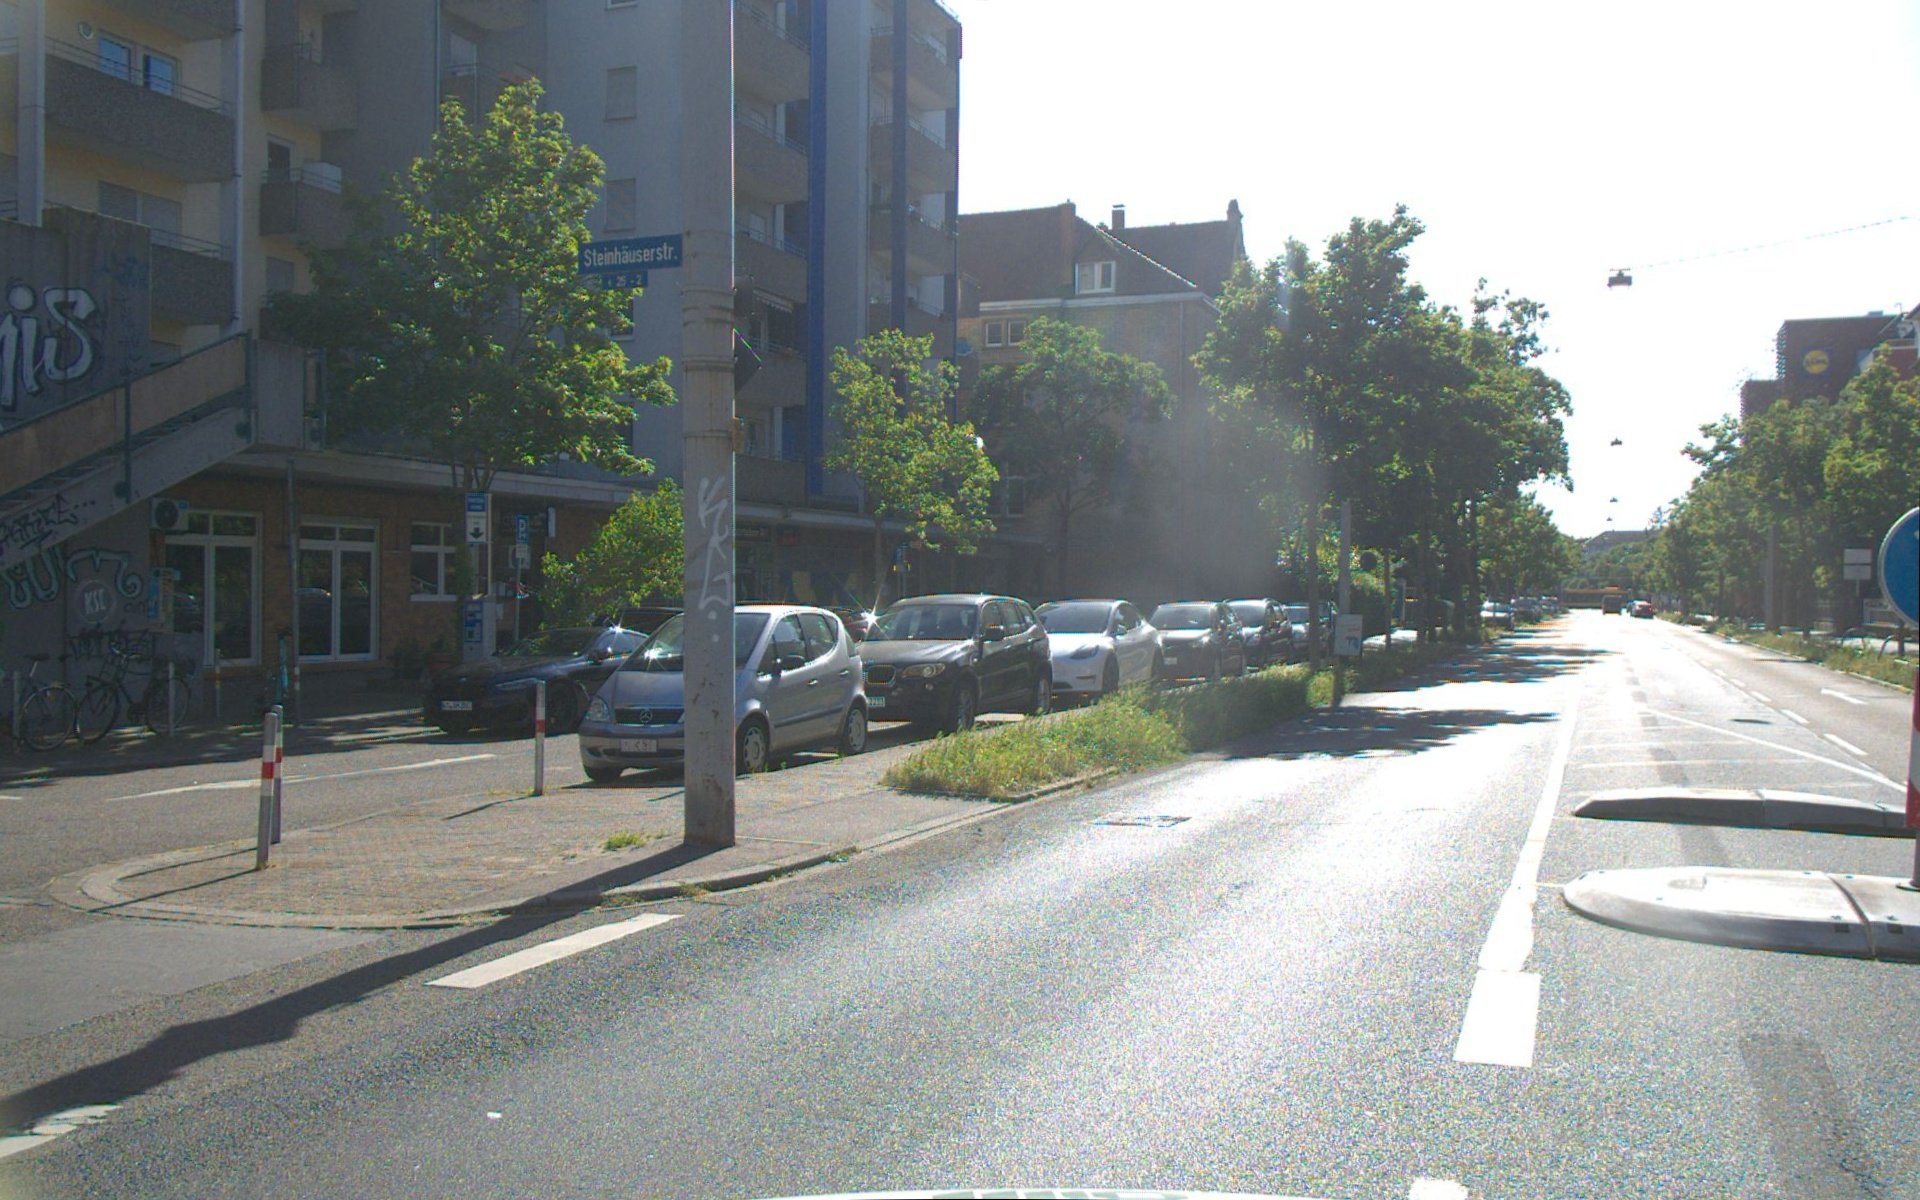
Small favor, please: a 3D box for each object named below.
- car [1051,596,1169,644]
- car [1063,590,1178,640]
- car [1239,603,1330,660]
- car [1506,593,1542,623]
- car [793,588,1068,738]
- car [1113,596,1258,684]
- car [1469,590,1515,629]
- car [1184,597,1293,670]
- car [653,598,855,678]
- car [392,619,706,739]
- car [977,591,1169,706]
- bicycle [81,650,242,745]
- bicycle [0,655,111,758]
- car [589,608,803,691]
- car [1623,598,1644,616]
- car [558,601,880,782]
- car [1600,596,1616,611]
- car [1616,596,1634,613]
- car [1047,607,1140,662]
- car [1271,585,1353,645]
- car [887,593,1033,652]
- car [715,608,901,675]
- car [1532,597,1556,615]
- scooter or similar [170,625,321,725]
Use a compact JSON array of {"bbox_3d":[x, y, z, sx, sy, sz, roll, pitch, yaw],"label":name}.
[{"bbox_3d":[5.361,0.689,59.051,3.903,1.658,1.688,0,0,18],"label":"car"},{"bbox_3d":[5.930,0.538,60.929,3.903,1.800,1.887,0,0,18],"label":"car"},{"bbox_3d":[8.599,0.786,43.580,1.718,1.422,4.000,0,0,21],"label":"car"},{"bbox_3d":[38.950,0.559,114.208,2.019,2.049,4.628,0,0,23],"label":"car"},{"bbox_3d":[-0.220,0.699,20.667,1.830,1.656,4.504,-1,0,22],"label":"car"},{"bbox_3d":[4.543,0.753,32.854,1.825,1.615,3.999,-1,0,23],"label":"car"},{"bbox_3d":[28.705,0.513,89.215,1.953,2.049,4.204,0,0,23],"label":"car"},{"bbox_3d":[6.469,0.728,38.074,1.715,1.580,4.000,-1,0,21],"label":"car"},{"bbox_3d":[-4.397,0.786,35.491,3.903,1.635,1.842,0,0,18],"label":"car"},{"bbox_3d":[-5.516,1.007,22.841,1.853,1.422,4.528,-1,0,23],"label":"car"},{"bbox_3d":[1.947,0.734,26.971,1.849,1.691,4.531,-2,-1,21],"label":"car"},{"bbox_3d":[-9.590,1.150,19.931,0.406,1.018,1.798,3,2,30],"label":"bicycle"},{"bbox_3d":[-10.326,1.163,18.142,0.407,1.048,1.794,4,2,37],"label":"bicycle"},{"bbox_3d":[-5.302,0.968,33.310,3.903,1.578,1.771,0,0,18],"label":"car"},{"bbox_3d":[67.196,0.714,165.021,1.911,1.738,4.000,0,0,22],"label":"car"},{"bbox_3d":[-2.218,0.798,16.150,1.683,1.545,3.533,-1,0,19],"label":"car"},{"bbox_3d":[75.826,0.403,193.572,1.722,1.815,4.000,0,0,22],"label":"car"},{"bbox_3d":[70.936,0.497,176.513,1.722,1.815,4.000,0,0,22],"label":"car"},{"bbox_3d":[3.918,0.961,48.010,1.652,1.495,4.000,0,0,21],"label":"car"},{"bbox_3d":[10.256,0.410,47.993,1.726,1.675,4.000,0,0,21],"label":"car"},{"bbox_3d":[0.005,0.631,47.687,3.903,1.658,1.688,0,0,18],"label":"car"},{"bbox_3d":[-3.461,0.929,37.882,3.903,1.449,1.688,0,0,18],"label":"car"},{"bbox_3d":[56.756,0.571,160.740,1.953,1.725,3.999,0,0,23],"label":"car"},{"bbox_3d":[-9.730,1.008,22.516,1.925,1.299,0.631,0,0,17],"label":"scooter or similar"}]
